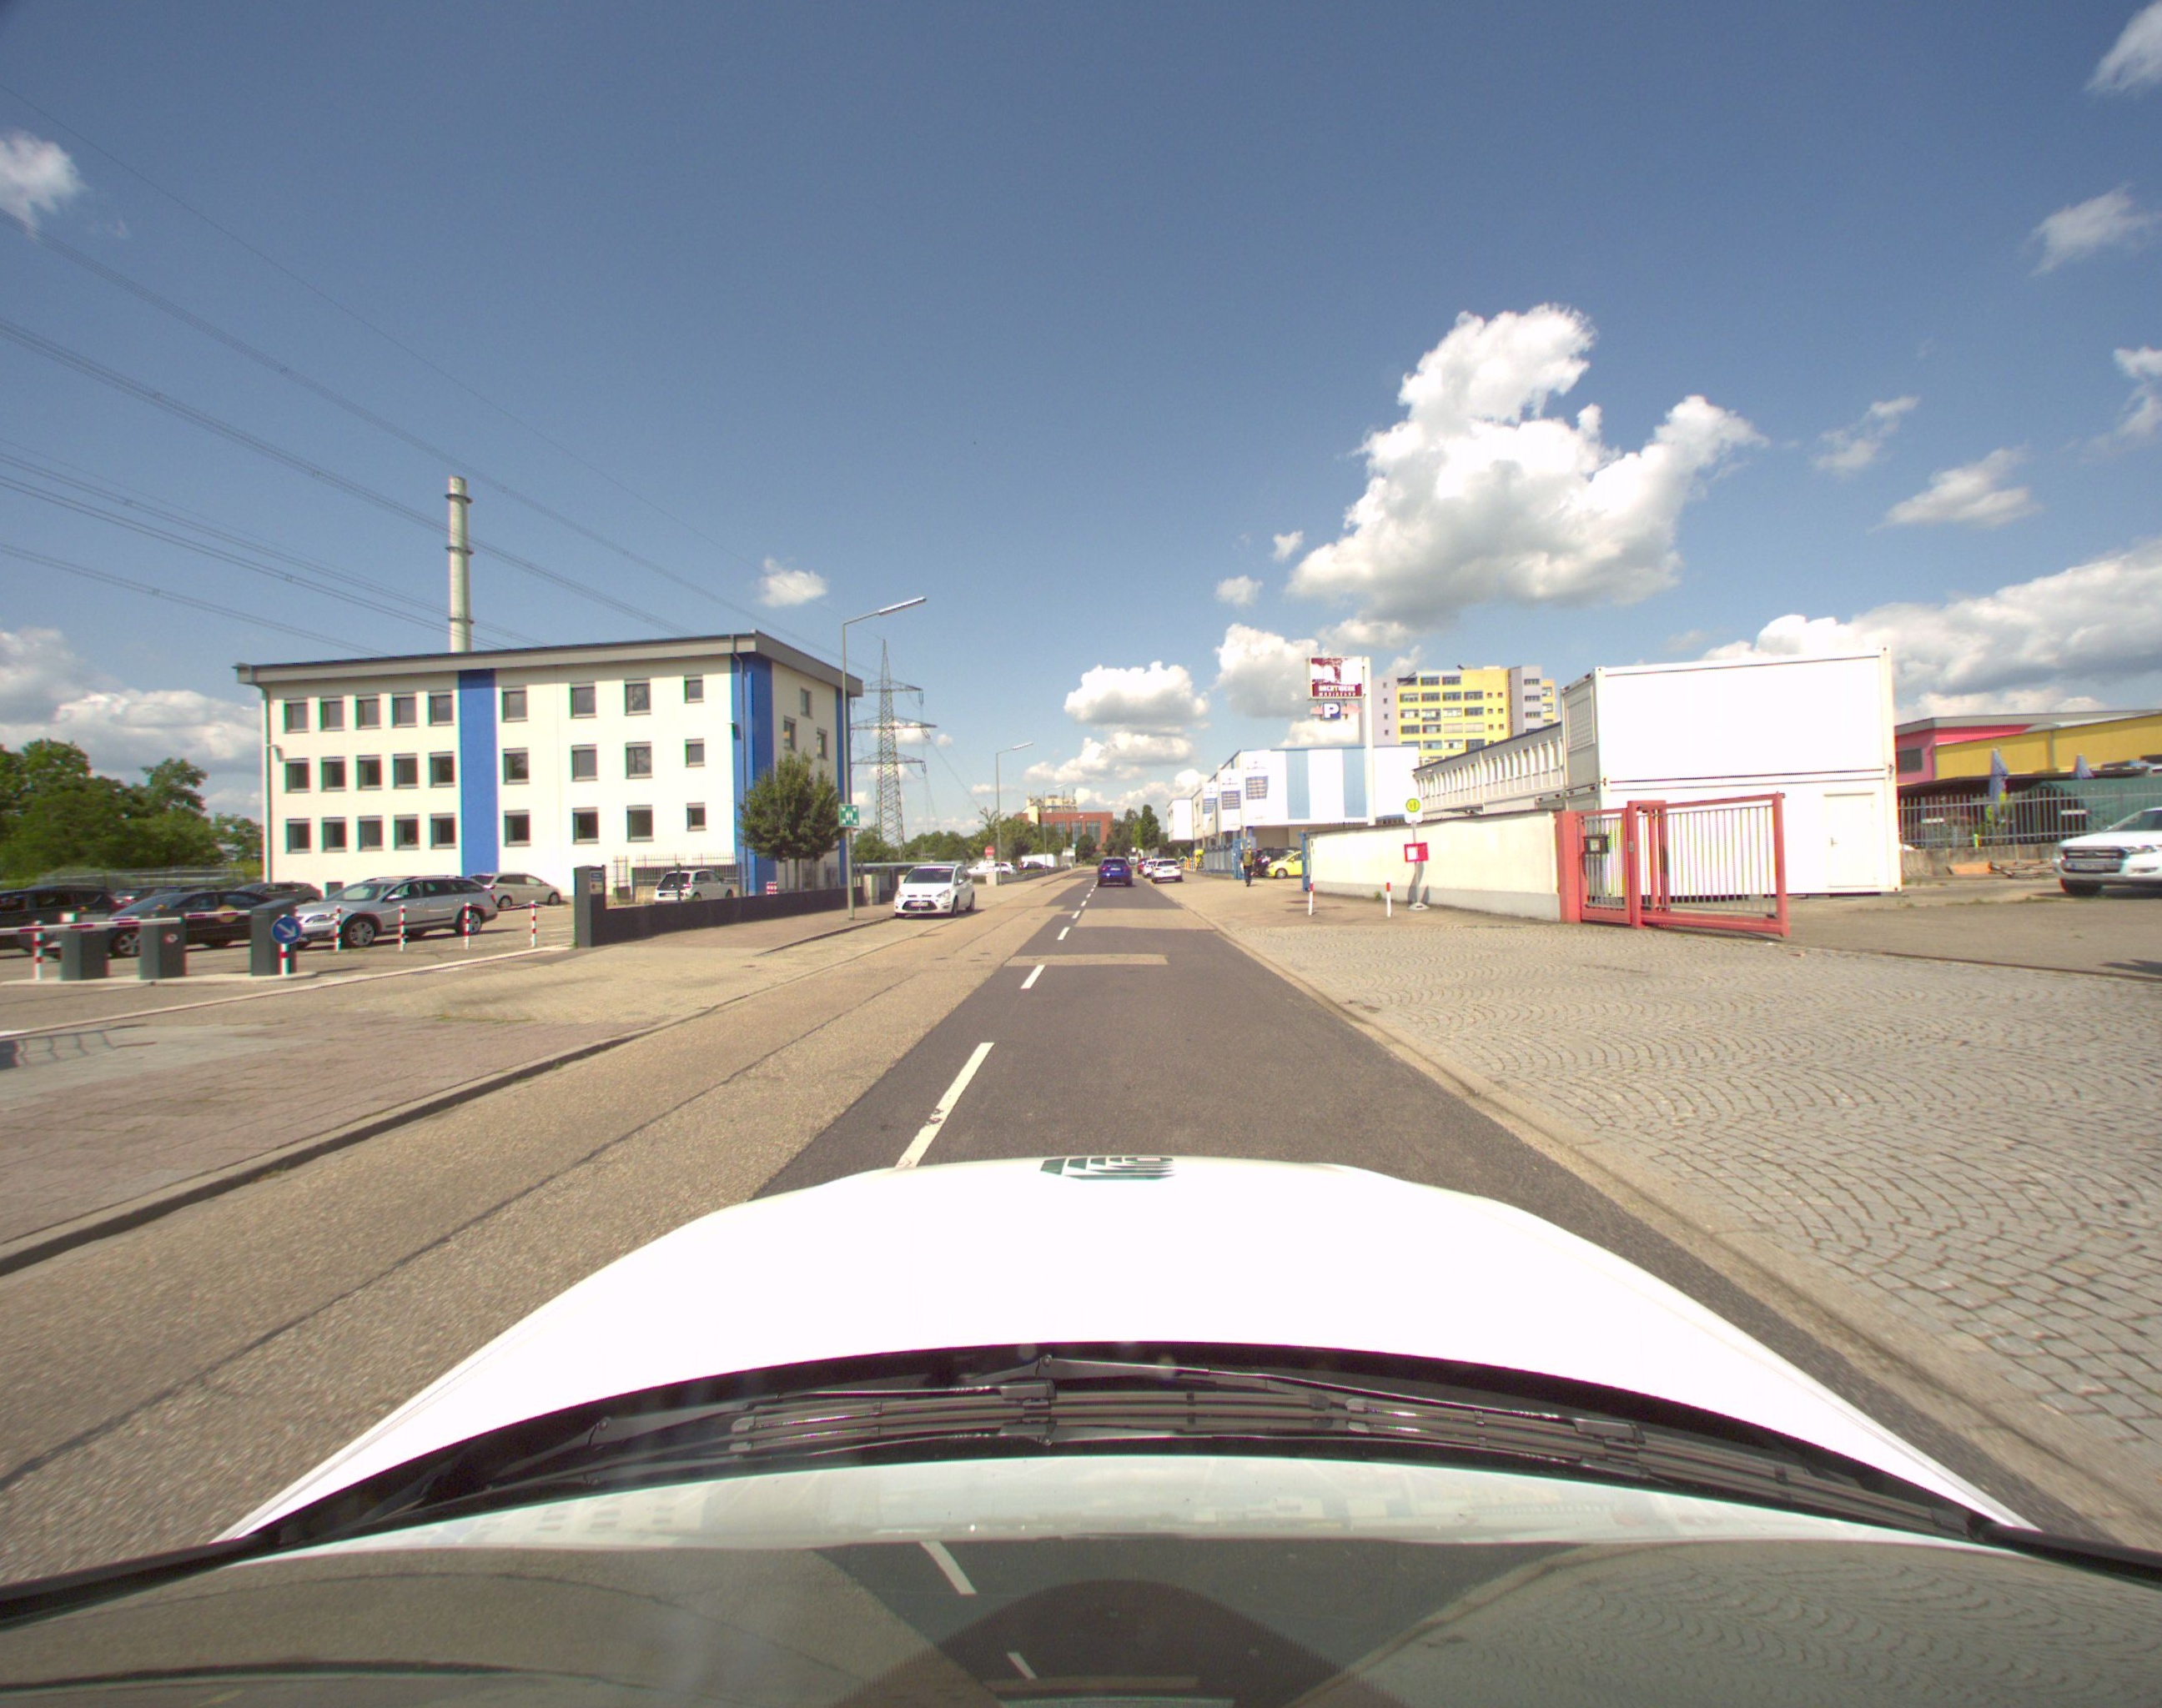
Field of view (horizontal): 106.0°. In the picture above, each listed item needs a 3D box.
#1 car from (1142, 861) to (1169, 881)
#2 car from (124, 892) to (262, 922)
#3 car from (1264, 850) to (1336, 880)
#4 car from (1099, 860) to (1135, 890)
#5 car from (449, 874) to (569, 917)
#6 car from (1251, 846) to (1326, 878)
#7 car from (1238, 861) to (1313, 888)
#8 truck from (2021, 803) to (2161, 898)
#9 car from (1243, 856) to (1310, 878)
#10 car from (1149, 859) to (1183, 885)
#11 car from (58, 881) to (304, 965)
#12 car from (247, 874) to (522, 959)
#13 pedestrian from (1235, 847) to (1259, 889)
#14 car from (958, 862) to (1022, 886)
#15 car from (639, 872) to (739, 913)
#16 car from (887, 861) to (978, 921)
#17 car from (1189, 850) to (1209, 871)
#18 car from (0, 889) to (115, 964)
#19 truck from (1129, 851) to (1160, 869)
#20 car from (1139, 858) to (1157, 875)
[{"bbox_3d":[5.896,1.347,64.717,1.828,1.520,4.463,-1,-1,2],"label":"car"},{"bbox_3d":[-40.434,2.389,37.222,1.757,1.076,3.910,-2,-1,7],"label":"car"},{"bbox_3d":[11.583,0.606,43.249,3.391,1.490,1.792,-1,-1,1],"label":"car"},{"bbox_3d":[2.001,1.165,46.328,1.902,1.593,4.703,-1,-1,2],"label":"car"},{"bbox_3d":[-25.469,1.805,36.460,1.814,1.655,4.453,-2,-1,7],"label":"car"},{"bbox_3d":[11.570,0.472,45.594,3.792,1.680,1.792,-1,-1,1],"label":"car"},{"bbox_3d":[11.436,1.196,48.060,3.971,1.420,2.001,-2,0,2],"label":"car"},{"bbox_3d":[22.399,-0.165,16.275,5.181,1.744,1.997,-3,-1,-4],"label":"truck"},{"bbox_3d":[13.865,0.916,57.951,4.262,1.420,2.001,-2,0,2],"label":"car"},{"bbox_3d":[5.403,1.129,52.236,1.860,1.520,4.599,-1,-1,2],"label":"car"},{"bbox_3d":[-21.344,1.576,19.537,1.862,1.708,3.487,-2,-1,8],"label":"car"},{"bbox_3d":[-16.190,1.372,19.358,1.812,1.636,4.859,-2,-1,10],"label":"car"},{"bbox_3d":[7.286,0.611,35.783,0.766,1.756,0.787,-4,-1,1],"label":"pedestrian"},{"bbox_3d":[-7.165,1.596,64.315,4.742,1.602,1.999,-3,-1,-2],"label":"car"},{"bbox_3d":[-15.969,1.538,33.400,1.862,1.507,3.767,-2,-1,8],"label":"car"},{"bbox_3d":[-4.571,1.108,25.857,1.860,1.708,4.754,-1,-1,2],"label":"car"},{"bbox_3d":[14.616,0.838,101.046,1.916,2.464,5.262,-1,-1,2],"label":"car"},{"bbox_3d":[-26.510,1.785,19.422,1.863,1.708,4.075,-2,-1,7],"label":"car"},{"bbox_3d":[13.321,1.139,170.021,2.298,3.567,9.427,0,1,33],"label":"truck"},{"bbox_3d":[6.858,1.313,83.625,1.747,1.651,4.682,-1,-1,4],"label":"car"}]
